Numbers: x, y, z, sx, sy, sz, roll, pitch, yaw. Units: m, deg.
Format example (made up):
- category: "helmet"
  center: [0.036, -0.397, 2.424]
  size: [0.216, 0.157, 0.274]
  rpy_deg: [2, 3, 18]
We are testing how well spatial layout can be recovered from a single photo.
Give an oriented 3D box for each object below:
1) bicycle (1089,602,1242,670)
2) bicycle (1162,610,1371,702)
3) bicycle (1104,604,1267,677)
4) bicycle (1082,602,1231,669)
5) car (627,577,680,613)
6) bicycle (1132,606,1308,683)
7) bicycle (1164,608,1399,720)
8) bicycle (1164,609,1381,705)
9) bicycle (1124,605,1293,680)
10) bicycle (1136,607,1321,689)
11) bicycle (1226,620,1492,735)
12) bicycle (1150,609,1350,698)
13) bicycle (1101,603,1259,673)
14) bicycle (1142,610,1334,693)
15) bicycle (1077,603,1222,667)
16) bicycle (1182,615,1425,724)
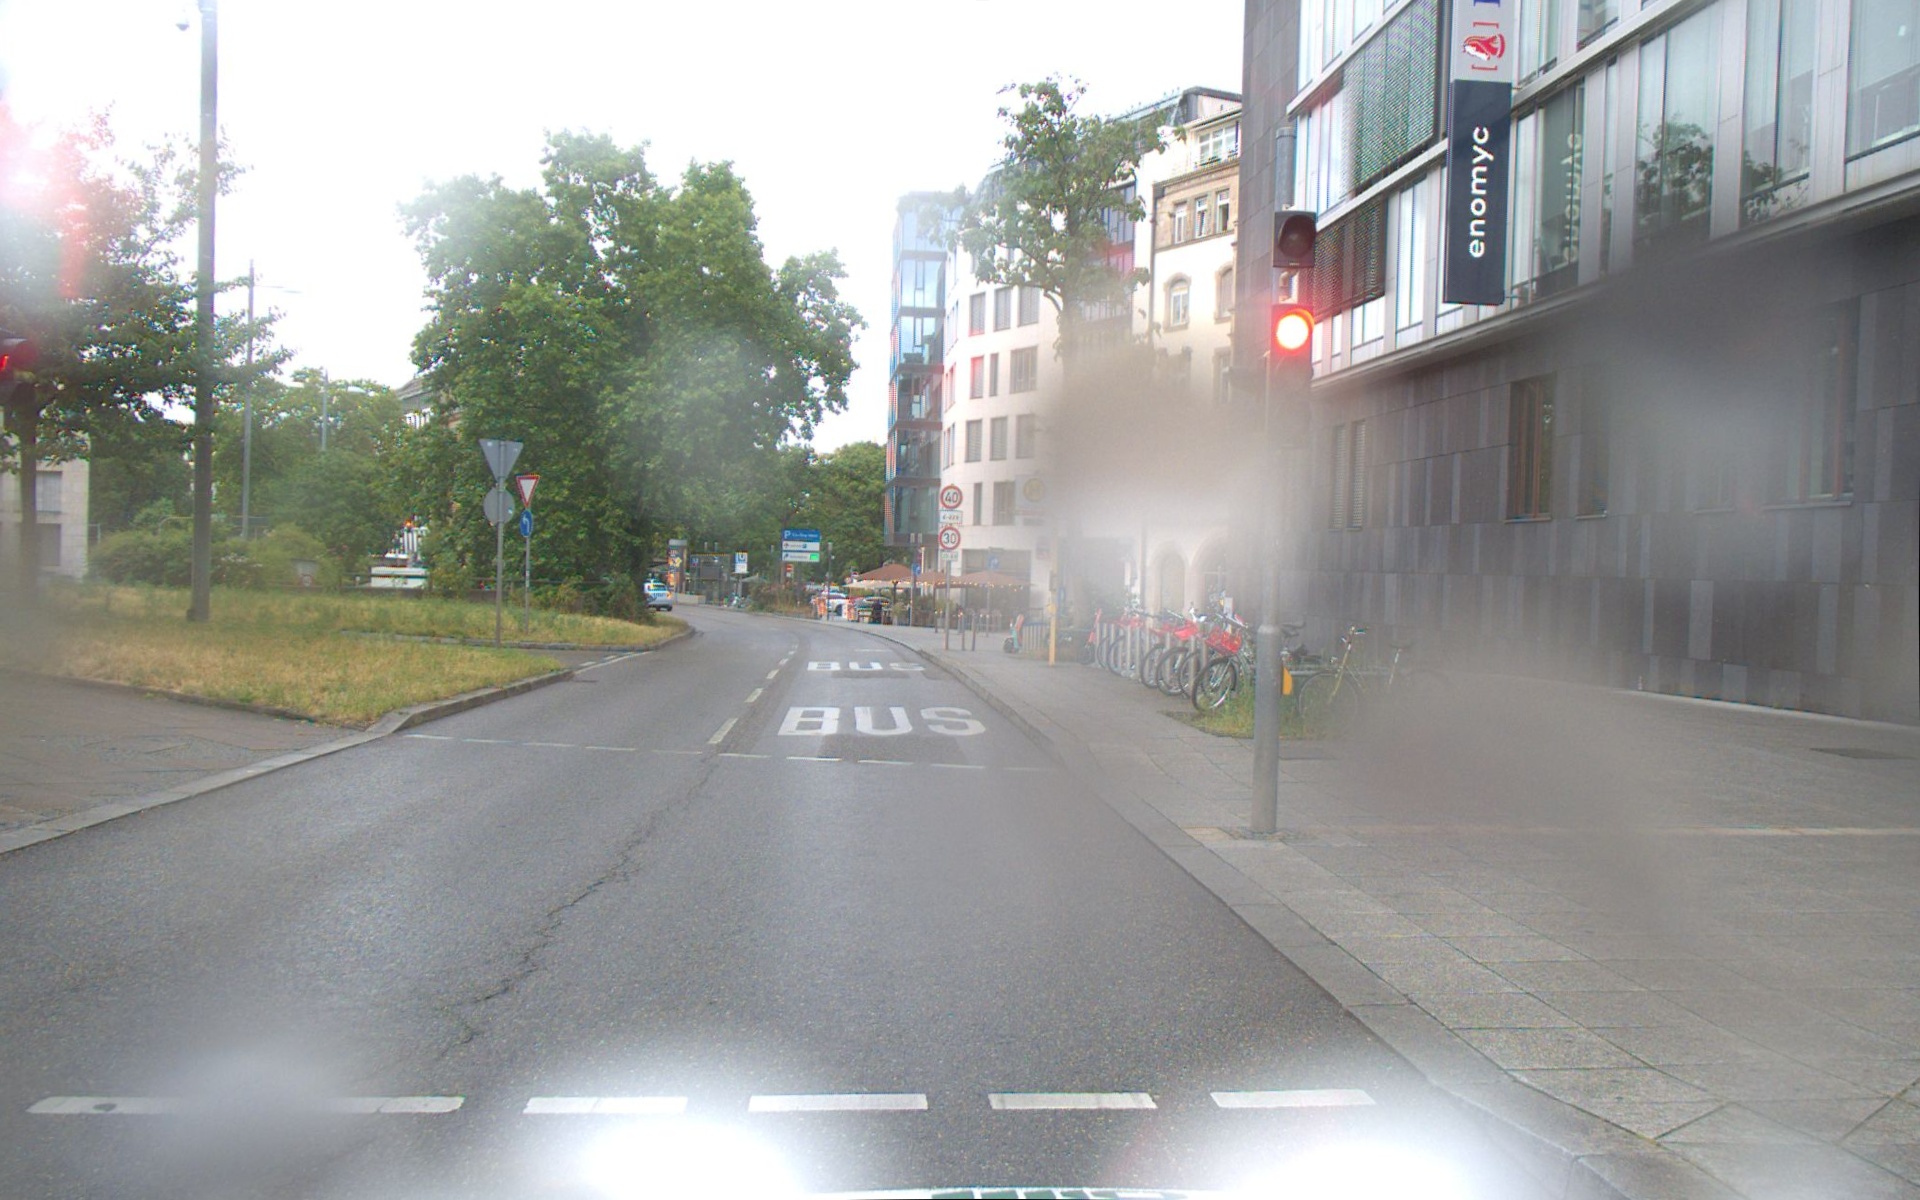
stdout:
- category: "bicycle"
  center: [3.480, 0.607, 28.098]
  size: [2.486, 1.106, 0.677]
  rpy_deg: [1, 0, -6]
- category: "bicycle"
  center: [3.853, 0.703, 20.862]
  size: [2.486, 1.106, 0.677]
  rpy_deg: [1, 0, -6]
- category: "bicycle"
  center: [3.592, 0.643, 26.459]
  size: [2.486, 1.106, 0.677]
  rpy_deg: [1, 0, -6]
- category: "bicycle"
  center: [3.423, 0.616, 28.845]
  size: [2.486, 1.106, 0.677]
  rpy_deg: [1, 0, -6]
- category: "car"
  center: [-17.193, -0.275, 92.675]
  size: [1.967, 1.675, 3.973]
  rpy_deg: [6, 0, -23]
- category: "bicycle"
  center: [3.865, 0.657, 24.645]
  size: [2.486, 1.106, 0.677]
  rpy_deg: [1, 0, -6]
- category: "bicycle"
  center: [3.630, 0.723, 18.779]
  size: [2.487, 1.106, 0.677]
  rpy_deg: [3, 0, -6]
- category: "bicycle"
  center: [3.768, 0.684, 20.006]
  size: [2.486, 1.106, 0.677]
  rpy_deg: [1, 0, -6]
- category: "bicycle"
  center: [3.840, 0.652, 25.623]
  size: [2.486, 1.106, 0.677]
  rpy_deg: [1, 0, -6]
- category: "bicycle"
  center: [3.793, 0.675, 23.447]
  size: [2.486, 1.106, 0.677]
  rpy_deg: [1, 0, -6]
- category: "bicycle"
  center: [3.963, 0.766, 16.503]
  size: [2.487, 1.075, 0.677]
  rpy_deg: [1, 0, -6]
- category: "bicycle"
  center: [3.785, 0.694, 21.672]
  size: [2.486, 1.106, 0.677]
  rpy_deg: [1, 0, -6]
- category: "bicycle"
  center: [3.615, 0.624, 27.211]
  size: [2.486, 1.106, 0.677]
  rpy_deg: [1, 0, -6]
- category: "bicycle"
  center: [3.777, 0.693, 22.538]
  size: [2.486, 1.078, 0.677]
  rpy_deg: [1, 0, -6]
- category: "bicycle"
  center: [3.377, 0.622, 29.566]
  size: [2.486, 1.106, 0.627]
  rpy_deg: [1, 0, -6]
- category: "bicycle"
  center: [3.718, 0.747, 17.976]
  size: [2.487, 1.106, 0.677]
  rpy_deg: [1, 0, -6]
